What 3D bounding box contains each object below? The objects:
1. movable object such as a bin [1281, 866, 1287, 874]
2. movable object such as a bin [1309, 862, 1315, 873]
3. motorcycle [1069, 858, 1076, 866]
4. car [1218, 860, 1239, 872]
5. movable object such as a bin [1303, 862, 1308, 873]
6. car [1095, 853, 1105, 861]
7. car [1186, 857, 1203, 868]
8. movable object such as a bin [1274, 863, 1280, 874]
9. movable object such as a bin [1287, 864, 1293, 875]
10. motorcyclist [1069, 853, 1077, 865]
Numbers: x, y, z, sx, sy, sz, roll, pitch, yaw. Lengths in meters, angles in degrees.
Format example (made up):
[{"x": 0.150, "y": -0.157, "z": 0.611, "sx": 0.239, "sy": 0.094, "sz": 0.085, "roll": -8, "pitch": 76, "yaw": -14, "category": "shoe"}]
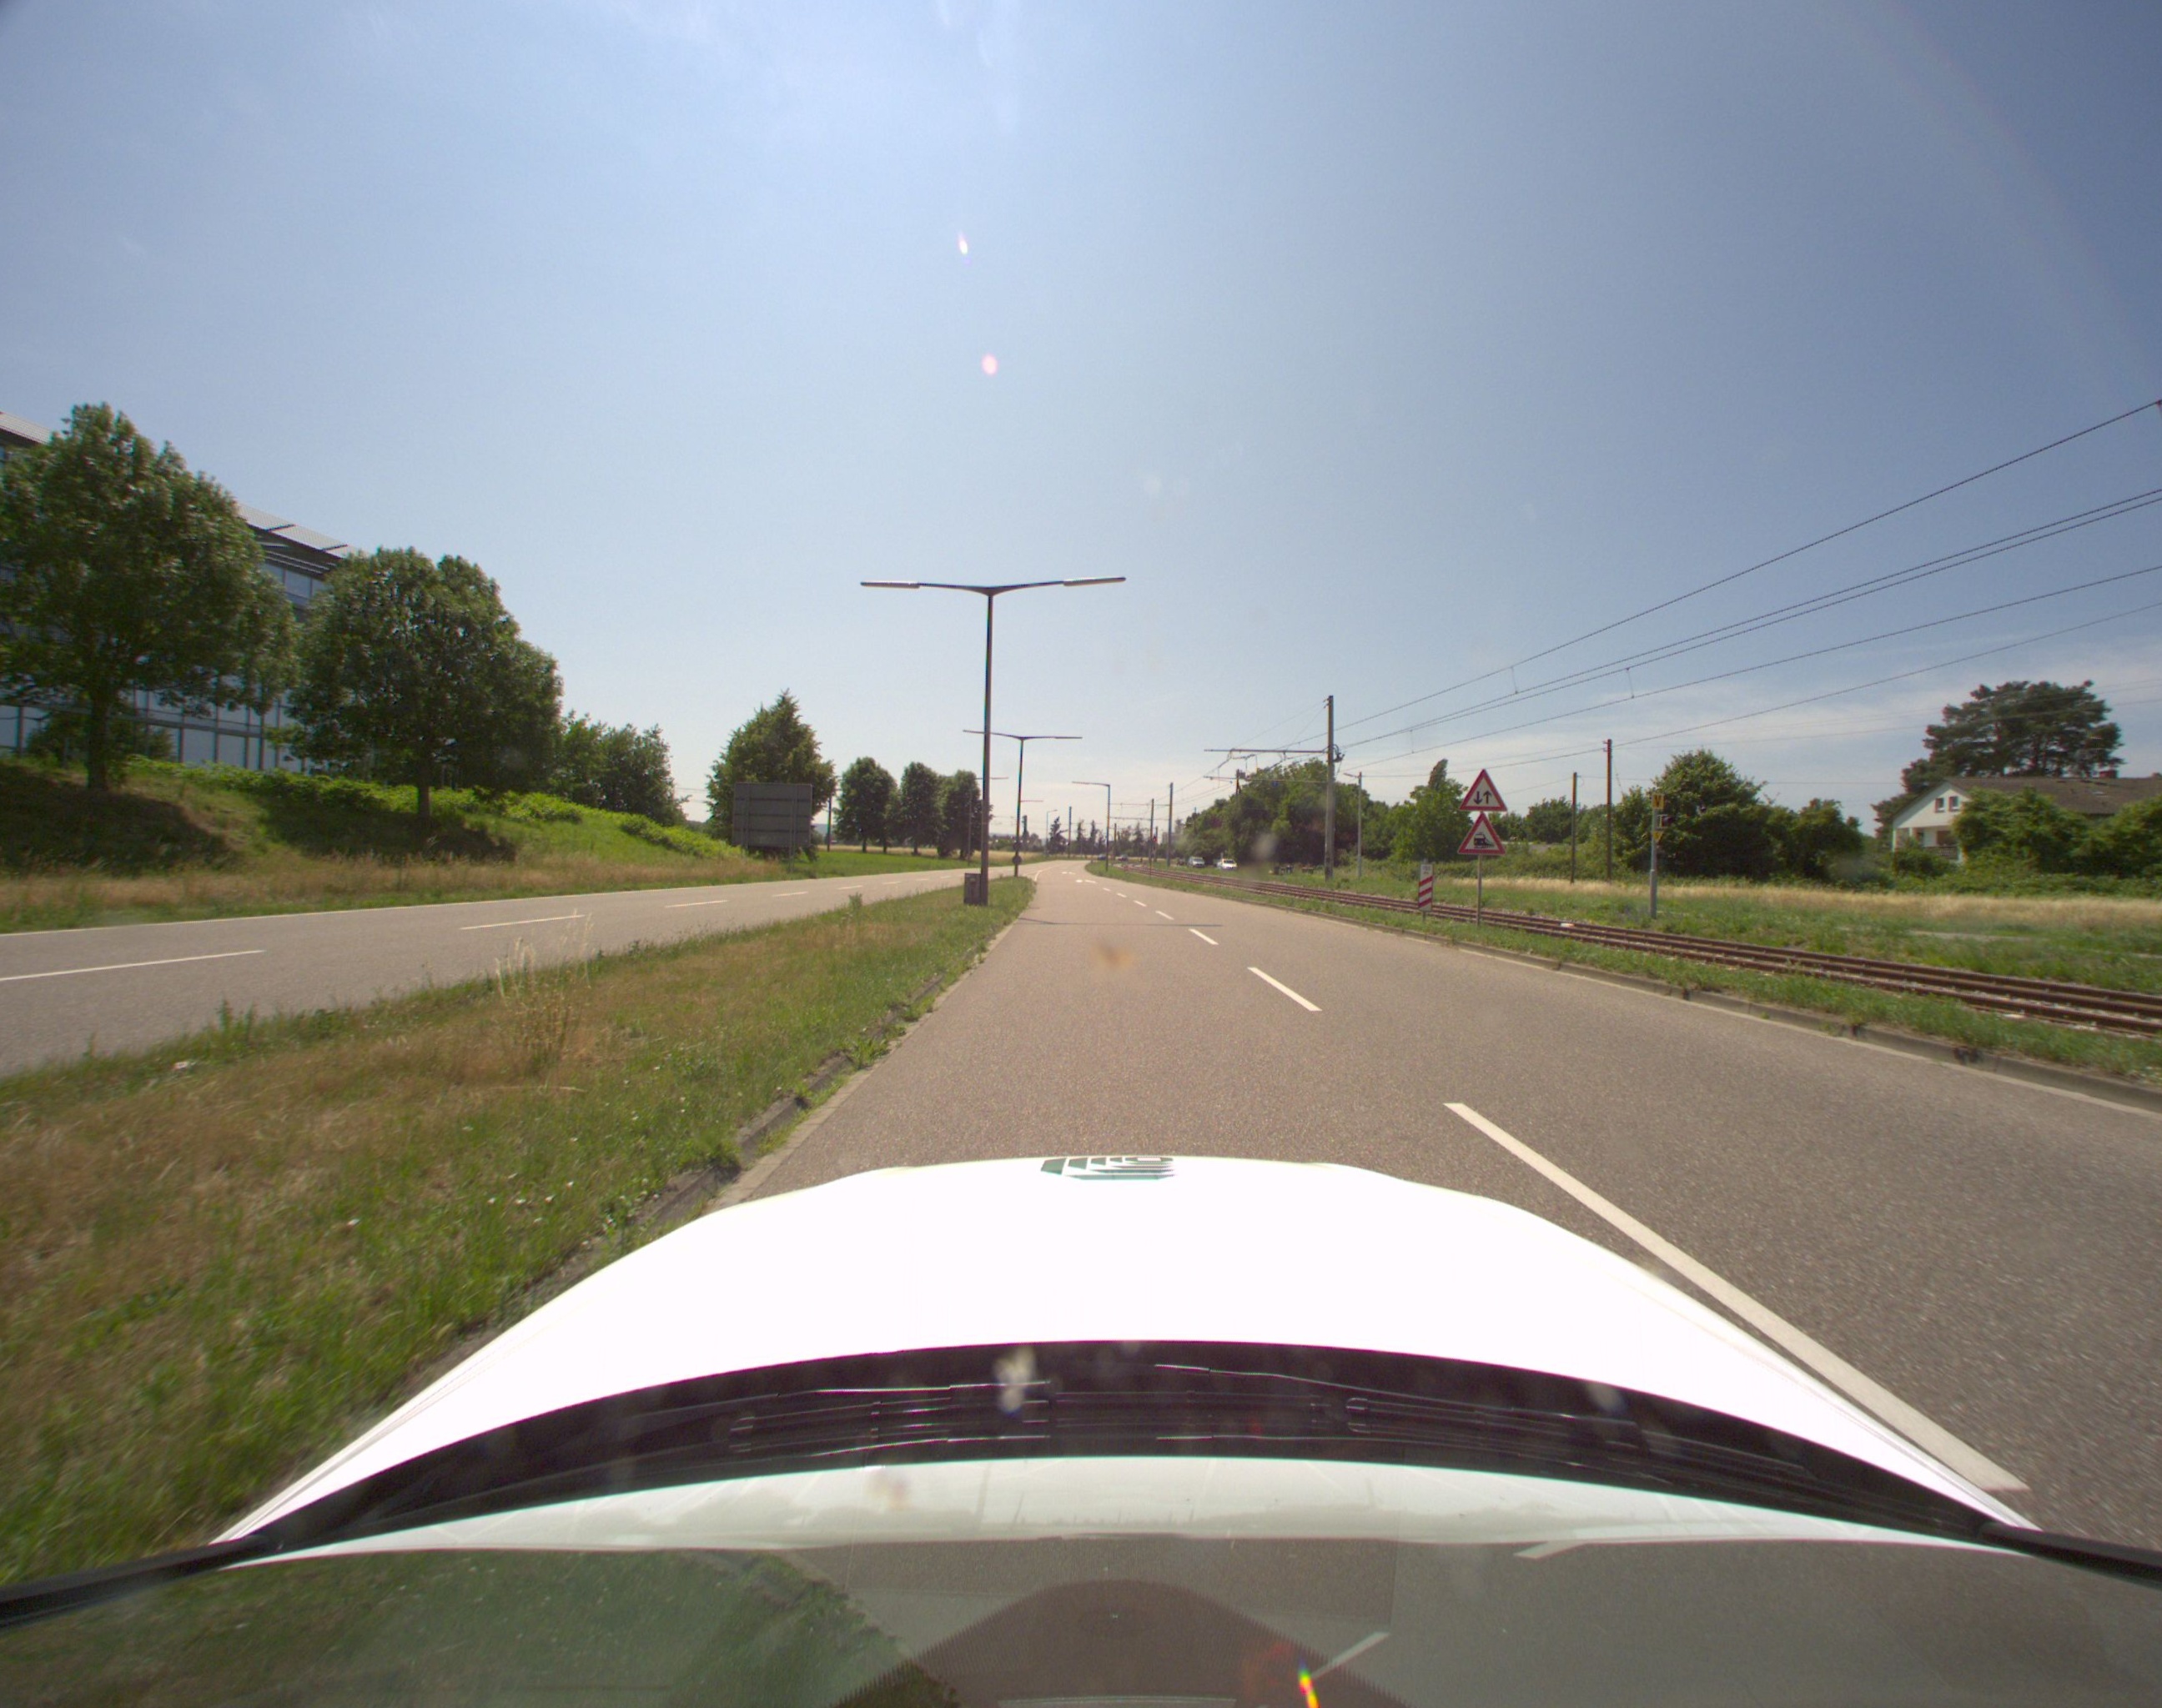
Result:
[{"x": 20.414, "y": 1.601, "z": 81.860, "sx": 0.521, "sy": 0.864, "sz": 0.500, "roll": 1, "pitch": 0, "yaw": 9, "category": "movable object such as a bin"}, {"x": 22.991, "y": 1.357, "z": 81.063, "sx": 0.446, "sy": 1.050, "sz": 0.501, "roll": 1, "pitch": 0, "yaw": 12, "category": "movable object such as a bin"}, {"x": -1.708, "y": 1.680, "z": 166.972, "sx": 0.984, "sy": 1.580, "sz": 3.405, "roll": 3, "pitch": -1, "yaw": 5, "category": "motorcycle"}, {"x": 16.102, "y": 1.314, "z": 88.863, "sx": 1.559, "sy": 1.179, "sz": 3.075, "roll": 1, "pitch": 0, "yaw": -4, "category": "car"}, {"x": 22.430, "y": 1.355, "z": 81.461, "sx": 0.446, "sy": 1.050, "sz": 0.501, "roll": 1, "pitch": 0, "yaw": 12, "category": "movable object such as a bin"}, {"x": 4.266, "y": 0.678, "z": 180.465, "sx": 1.393, "sy": 1.771, "sz": 3.267, "roll": 3, "pitch": -1, "yaw": 15, "category": "car"}, {"x": 15.603, "y": 1.235, "z": 112.342, "sx": 1.667, "sy": 1.397, "sz": 3.647, "roll": 3, "pitch": -1, "yaw": -2, "category": "car"}, {"x": 19.763, "y": 1.469, "z": 82.018, "sx": 0.521, "sy": 1.050, "sz": 0.500, "roll": 1, "pitch": 0, "yaw": 9, "category": "movable object such as a bin"}, {"x": 20.921, "y": 1.531, "z": 81.516, "sx": 0.521, "sy": 1.050, "sz": 0.500, "roll": 1, "pitch": 0, "yaw": 9, "category": "movable object such as a bin"}, {"x": -1.642, "y": 1.035, "z": 167.192, "sx": 1.225, "sy": 2.351, "sz": 1.108, "roll": 3, "pitch": -1, "yaw": 5, "category": "motorcyclist"}]
